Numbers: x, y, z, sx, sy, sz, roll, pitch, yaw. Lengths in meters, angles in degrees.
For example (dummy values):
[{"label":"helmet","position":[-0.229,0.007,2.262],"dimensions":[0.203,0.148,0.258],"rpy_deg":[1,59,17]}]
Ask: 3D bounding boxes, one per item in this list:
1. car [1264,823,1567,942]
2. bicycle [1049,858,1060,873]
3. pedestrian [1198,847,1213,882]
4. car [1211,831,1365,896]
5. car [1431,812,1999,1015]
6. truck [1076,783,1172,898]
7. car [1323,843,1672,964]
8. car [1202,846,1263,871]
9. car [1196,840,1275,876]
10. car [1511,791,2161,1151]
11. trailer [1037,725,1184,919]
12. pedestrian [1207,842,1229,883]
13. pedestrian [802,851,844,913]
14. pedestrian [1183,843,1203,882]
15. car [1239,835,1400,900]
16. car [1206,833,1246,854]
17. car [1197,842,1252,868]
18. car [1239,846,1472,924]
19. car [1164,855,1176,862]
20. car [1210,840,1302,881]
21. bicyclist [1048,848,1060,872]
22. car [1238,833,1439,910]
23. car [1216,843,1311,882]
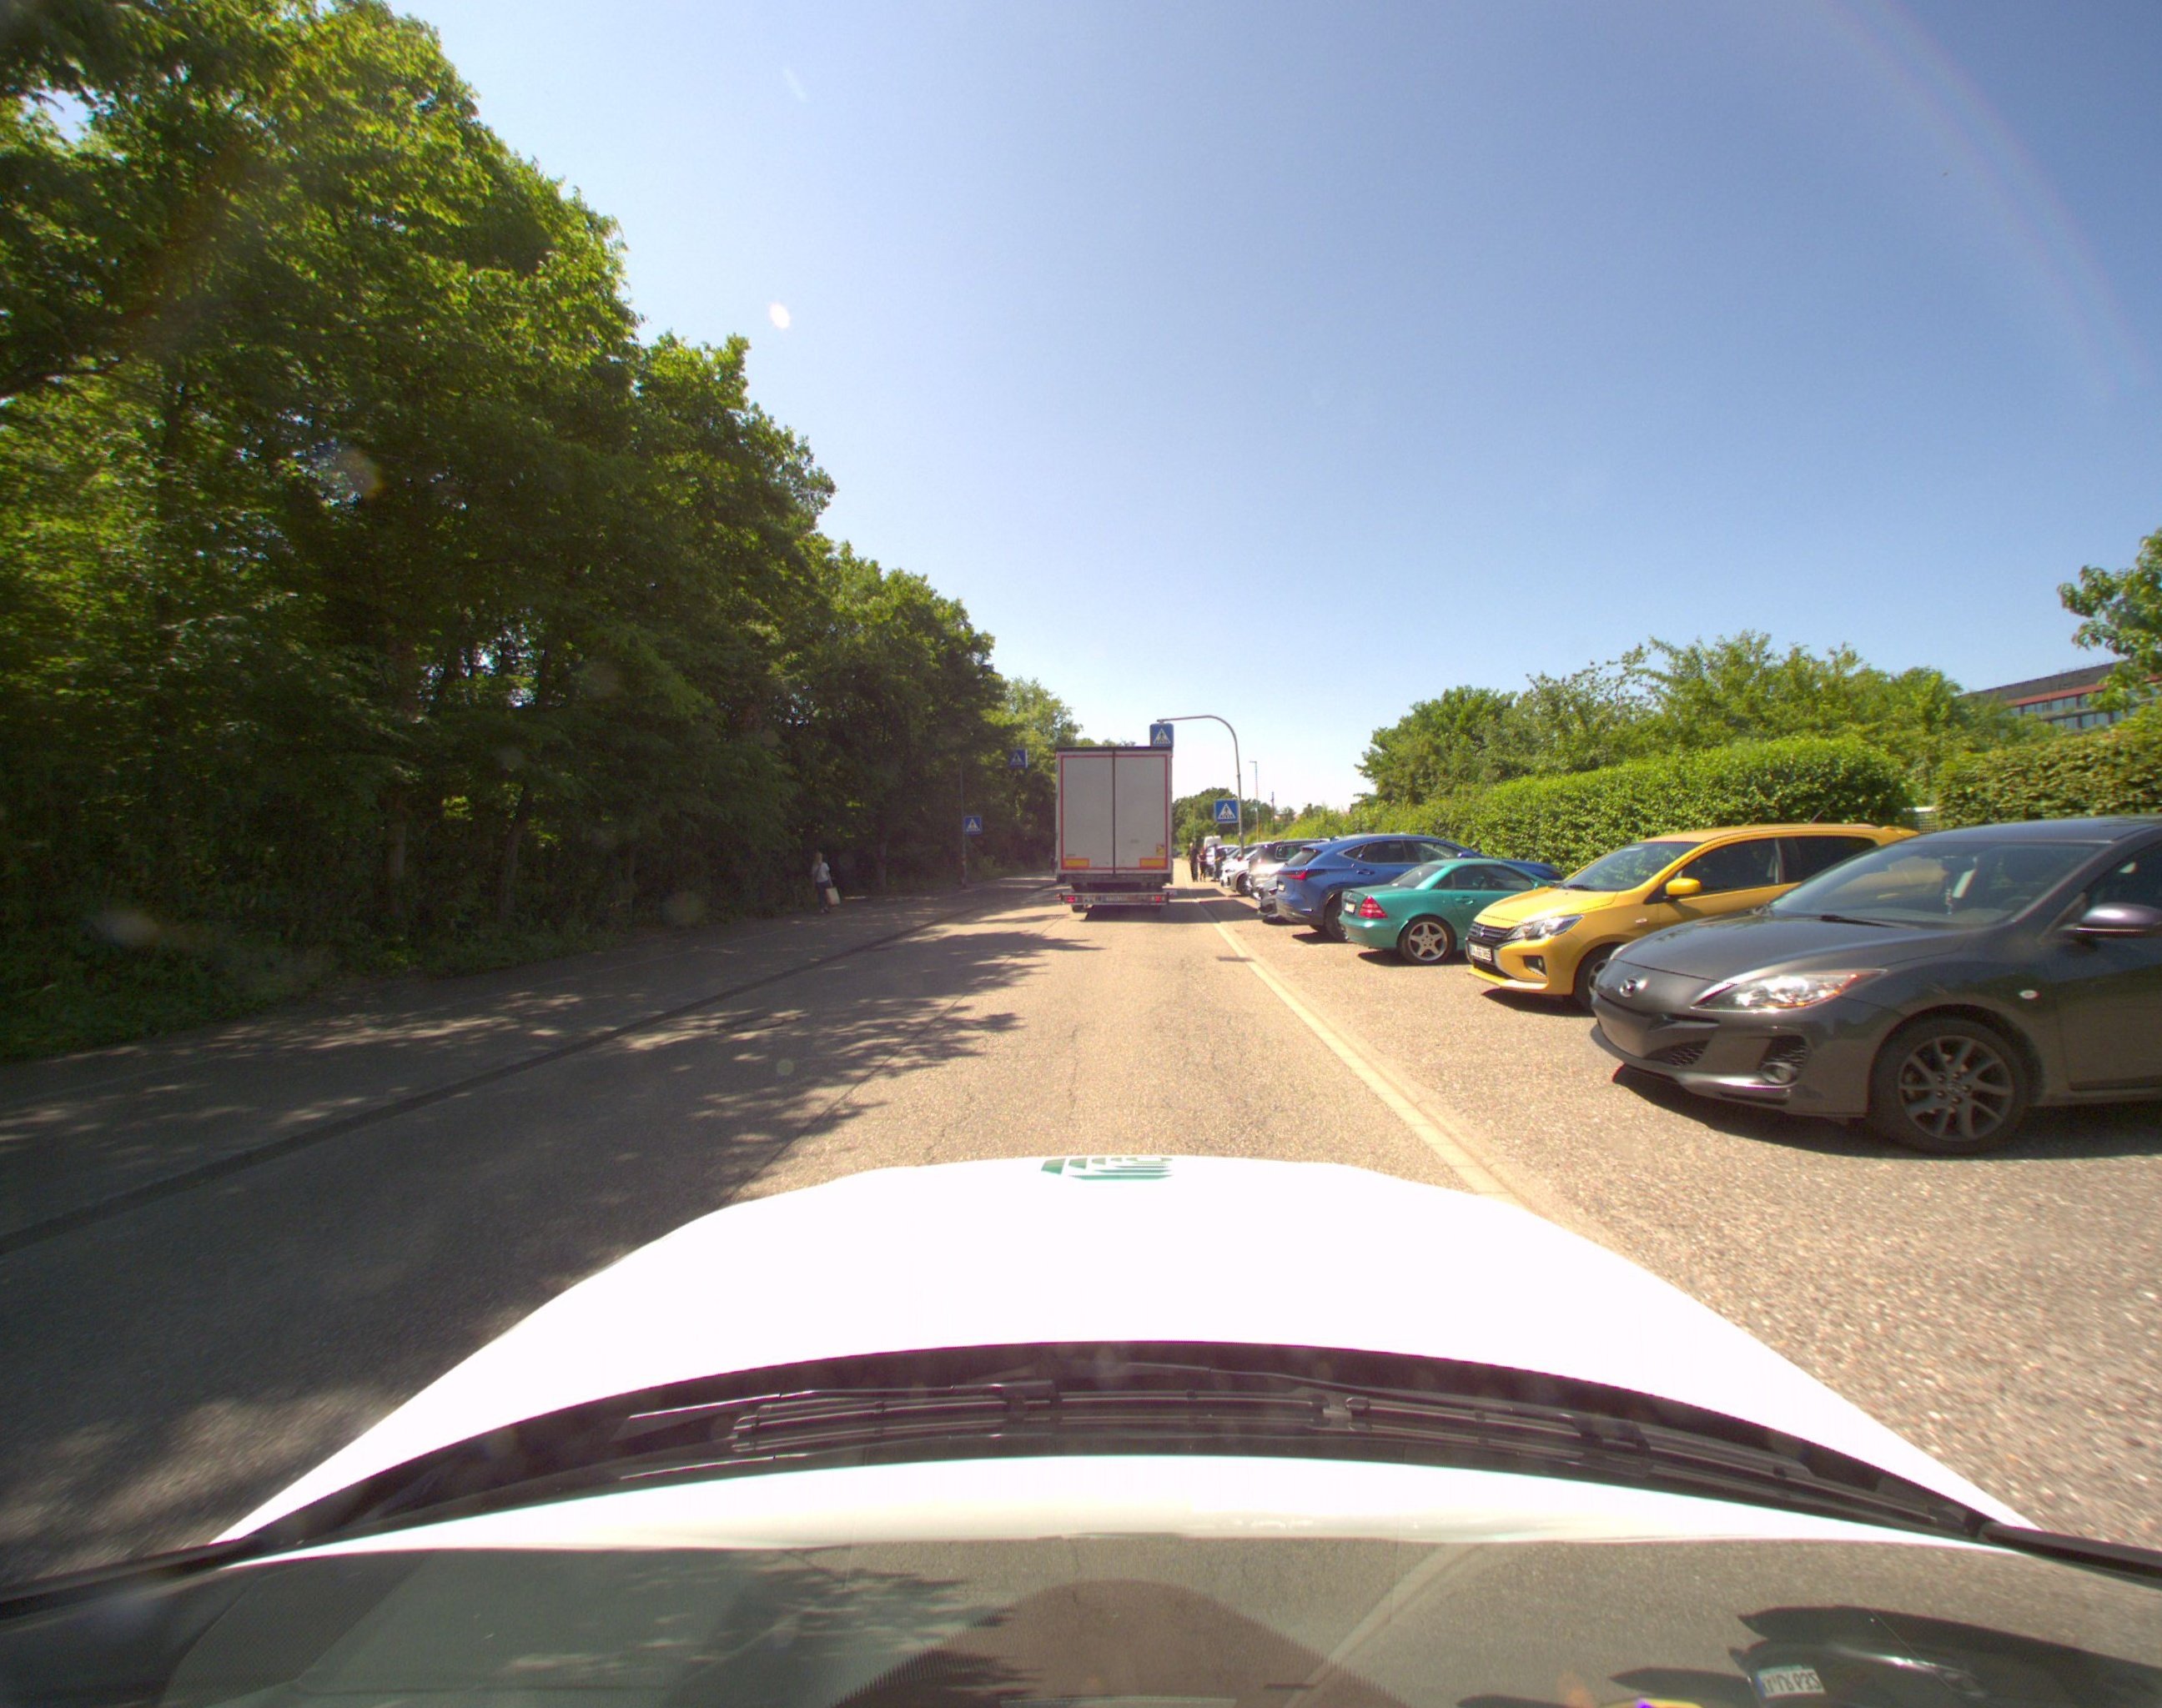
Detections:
[{"label":"car","position":[5.358,0.447,13.497],"dimensions":[4.221,1.634,1.824],"rpy_deg":[-3,-1,2]},{"label":"bicycle","position":[-1.896,0.819,58.150],"dimensions":[0.451,1.047,2.207],"rpy_deg":[0,0,7]},{"label":"pedestrian","position":[5.929,0.486,38.877],"dimensions":[0.586,1.615,0.746],"rpy_deg":[-4,-1,9]},{"label":"car","position":[6.559,0.320,26.157],"dimensions":[4.388,1.698,1.878],"rpy_deg":[-4,-1,1]},{"label":"car","position":[5.545,0.506,7.562],"dimensions":[3.786,1.455,1.776],"rpy_deg":[-3,-1,2]},{"label":"truck","position":[1.672,-0.455,29.840],"dimensions":[3.099,3.725,6.422],"rpy_deg":[-1,0,5]},{"label":"car","position":[5.279,0.624,10.724],"dimensions":[3.717,1.268,1.630],"rpy_deg":[-3,-1,4]},{"label":"car","position":[10.678,0.322,57.547],"dimensions":[3.942,1.619,1.814],"rpy_deg":[-2,0,1]},{"label":"car","position":[8.566,0.195,45.269],"dimensions":[3.947,1.668,1.812],"rpy_deg":[-3,2,-3]},{"label":"car","position":[4.995,0.473,4.527],"dimensions":[4.147,1.495,1.884],"rpy_deg":[-3,-1,2]},{"label":"trailer","position":[1.116,-0.707,23.165],"dimensions":[3.098,4.102,11.552],"rpy_deg":[-1,0,5]},{"label":"pedestrian","position":[6.344,0.388,37.734],"dimensions":[0.902,1.798,0.937],"rpy_deg":[-4,-1,9]},{"label":"pedestrian","position":[-6.900,0.724,21.802],"dimensions":[0.825,1.622,0.783],"rpy_deg":[1,0,2]},{"label":"pedestrian","position":[5.444,0.395,39.693],"dimensions":[0.817,1.834,0.794],"rpy_deg":[-4,-1,9]},{"label":"car","position":[6.761,0.390,23.460],"dimensions":[4.106,1.657,1.889],"rpy_deg":[-2,-1,4]},{"label":"car","position":[14.923,-1.034,84.088],"dimensions":[3.935,1.798,1.817],"rpy_deg":[-4,-3,7]},{"label":"car","position":[11.161,0.076,63.492],"dimensions":[3.942,1.765,1.814],"rpy_deg":[-3,0,1]},{"label":"car","position":[5.475,0.593,16.579],"dimensions":[4.123,1.439,1.812],"rpy_deg":[-1,0,-5]},{"label":"car","position":[17.175,0.858,157.556],"dimensions":[1.768,1.486,4.014],"rpy_deg":[0,0,13]},{"label":"car","position":[8.374,0.313,39.252],"dimensions":[3.945,1.668,1.812],"rpy_deg":[-3,-1,-1]},{"label":"bicyclist","position":[-1.949,0.432,58.127],"dimensions":[0.712,1.758,0.798],"rpy_deg":[0,-1,8]},{"label":"car","position":[6.022,0.417,19.440],"dimensions":[4.219,1.654,1.901],"rpy_deg":[-2,-1,2]},{"label":"car","position":[8.057,0.389,36.285],"dimensions":[3.933,1.480,1.818],"rpy_deg":[-4,-1,8]}]
